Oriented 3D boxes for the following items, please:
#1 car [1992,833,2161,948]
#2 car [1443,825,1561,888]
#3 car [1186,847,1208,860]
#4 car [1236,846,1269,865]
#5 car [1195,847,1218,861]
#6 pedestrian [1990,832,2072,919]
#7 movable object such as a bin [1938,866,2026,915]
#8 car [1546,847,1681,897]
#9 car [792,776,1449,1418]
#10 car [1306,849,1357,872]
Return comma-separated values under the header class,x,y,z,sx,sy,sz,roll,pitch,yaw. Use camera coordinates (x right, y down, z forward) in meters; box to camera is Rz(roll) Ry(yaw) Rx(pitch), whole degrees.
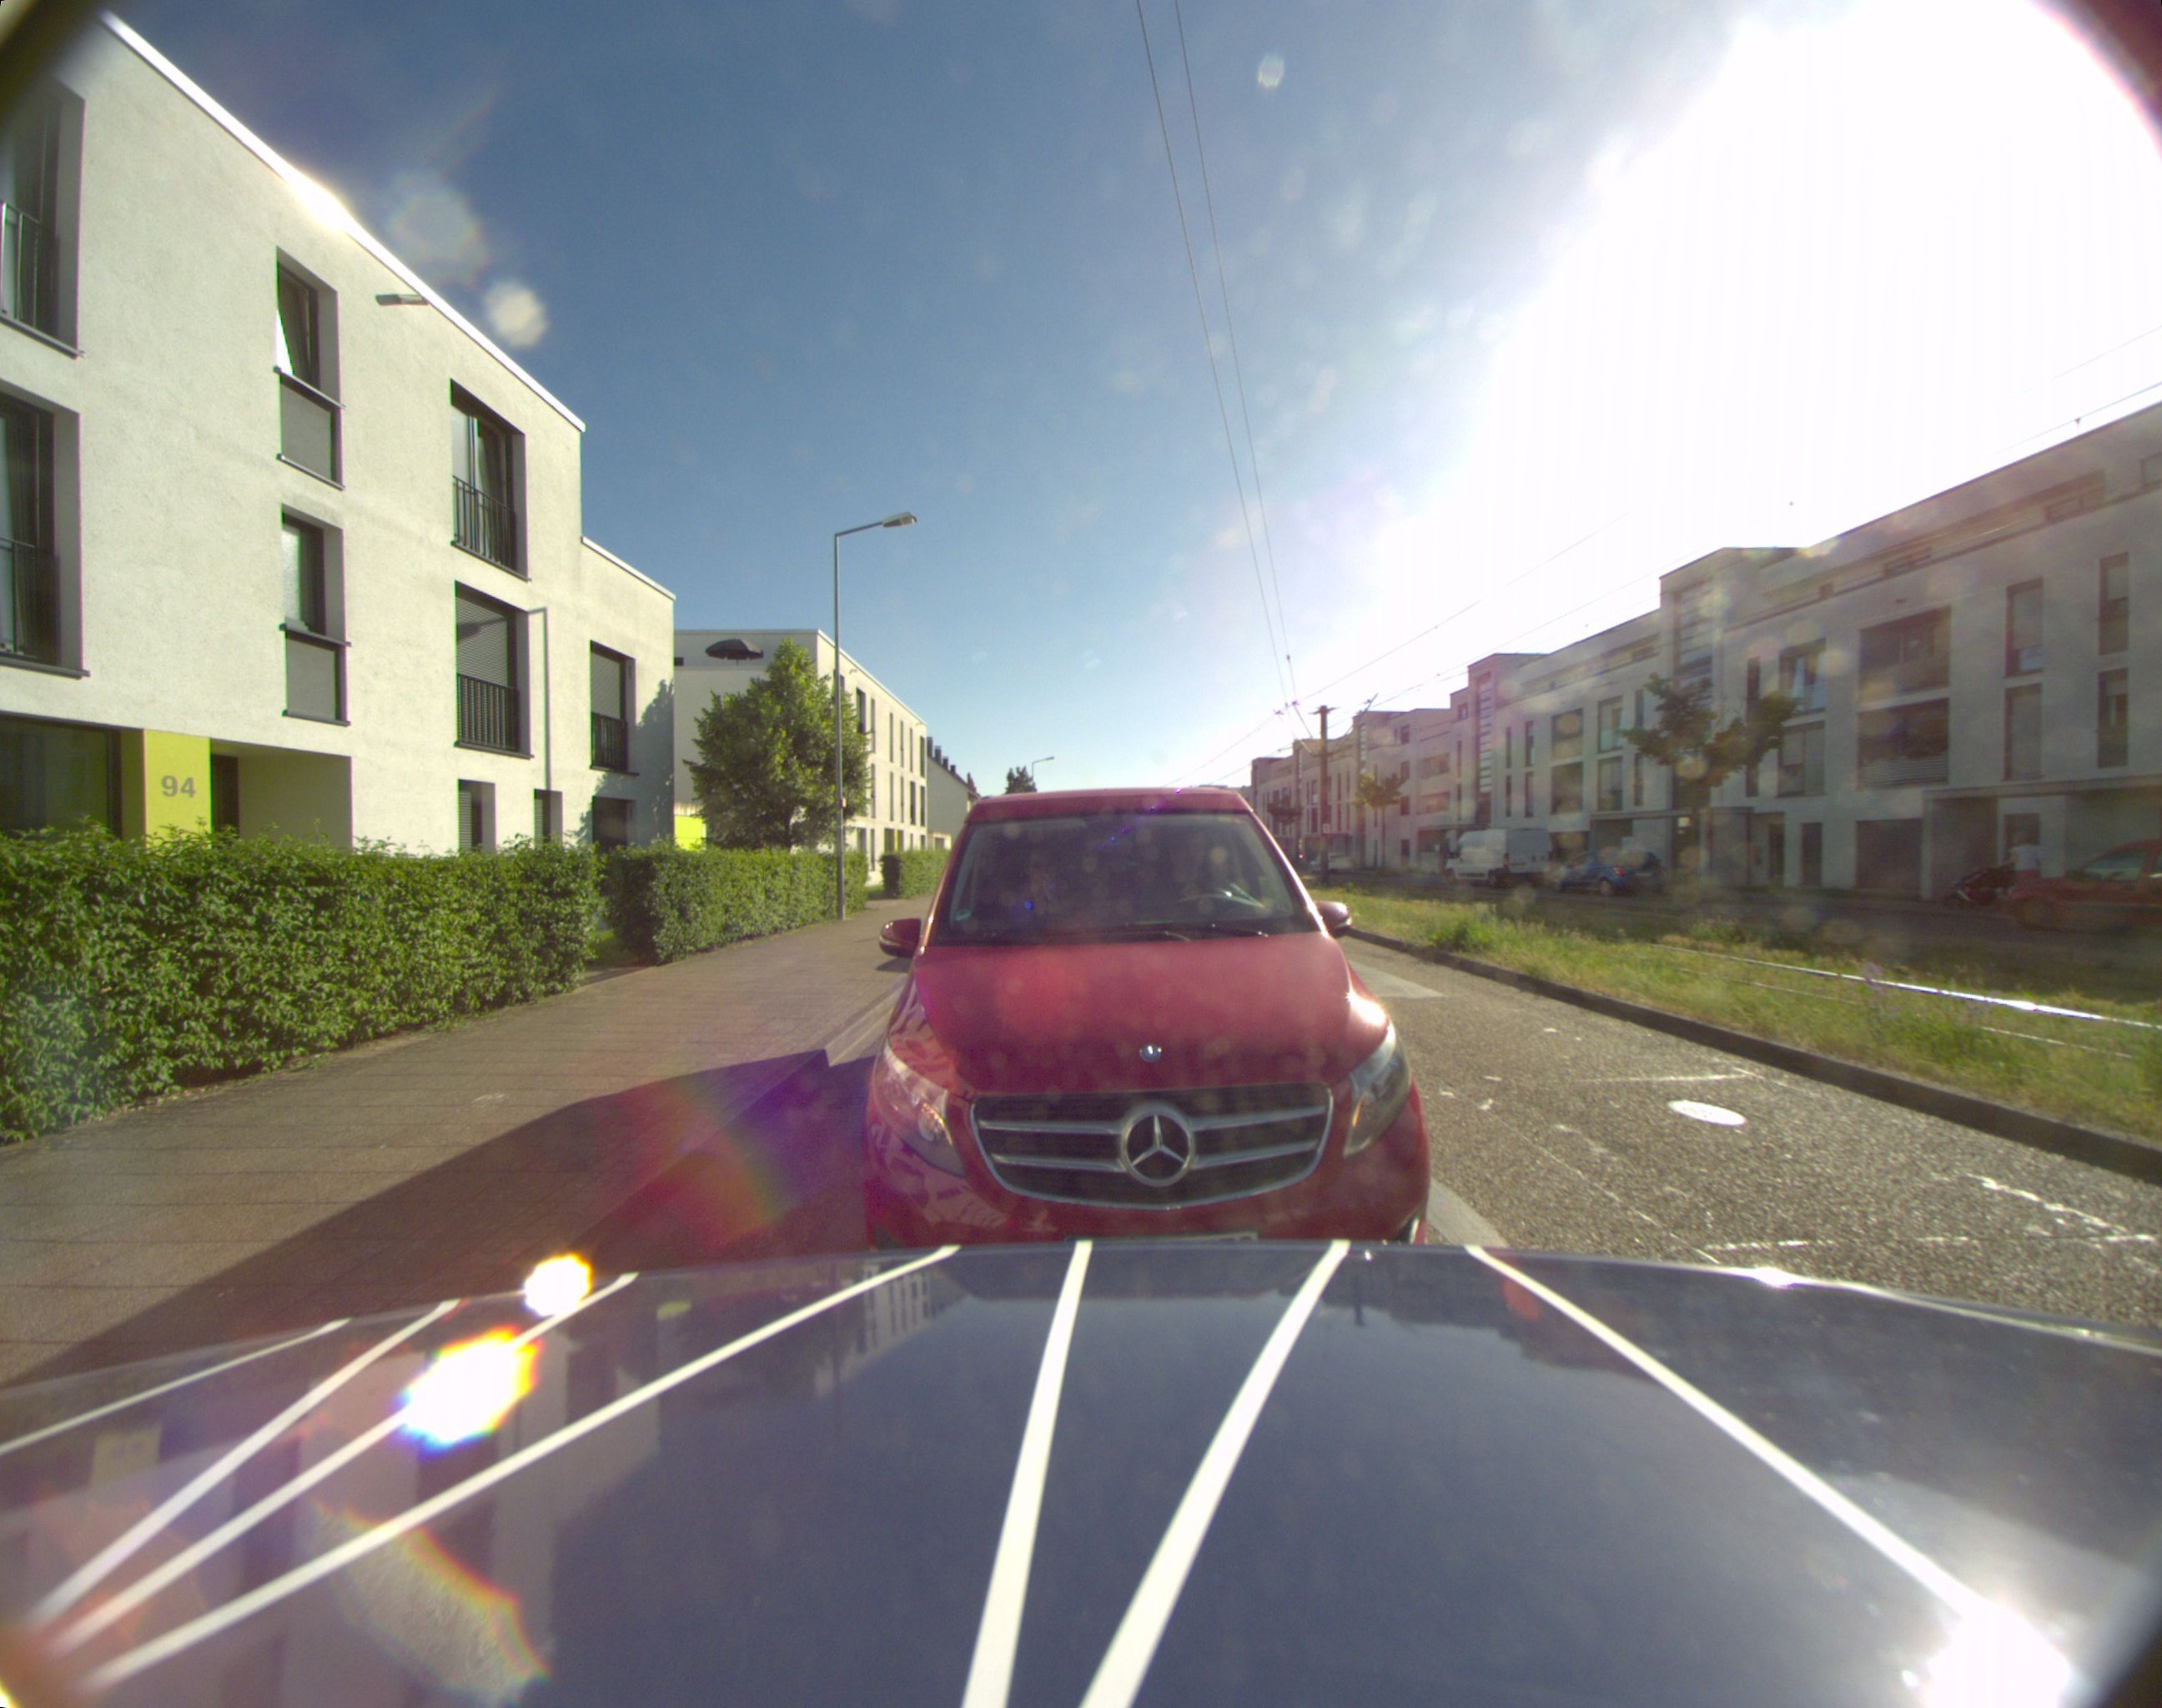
class,x,y,z,sx,sy,sz,roll,pitch,yaw
car,18.615,0.582,12.780,1.998,1.817,3.895,-2,1,3
car,18.167,0.078,33.143,2.225,2.458,5.195,-2,1,0
car,15.183,-0.058,99.629,1.923,1.671,4.282,-2,1,-4
car,16.715,0.136,74.326,1.923,1.671,4.282,-2,1,-4
car,15.470,-0.035,93.878,1.923,1.671,4.282,-2,1,-4
pedestrian,20.632,0.456,16.512,0.776,1.812,0.785,-2,1,1
movable object such as a bin,20.666,0.824,17.460,0.729,1.048,1.083,-2,1,1
car,18.375,0.579,26.471,1.999,1.536,3.835,-2,1,0
car,0.151,0.704,4.498,1.874,1.843,4.506,-2,1,1
car,17.631,0.418,53.712,1.923,1.497,4.282,-2,1,-4
